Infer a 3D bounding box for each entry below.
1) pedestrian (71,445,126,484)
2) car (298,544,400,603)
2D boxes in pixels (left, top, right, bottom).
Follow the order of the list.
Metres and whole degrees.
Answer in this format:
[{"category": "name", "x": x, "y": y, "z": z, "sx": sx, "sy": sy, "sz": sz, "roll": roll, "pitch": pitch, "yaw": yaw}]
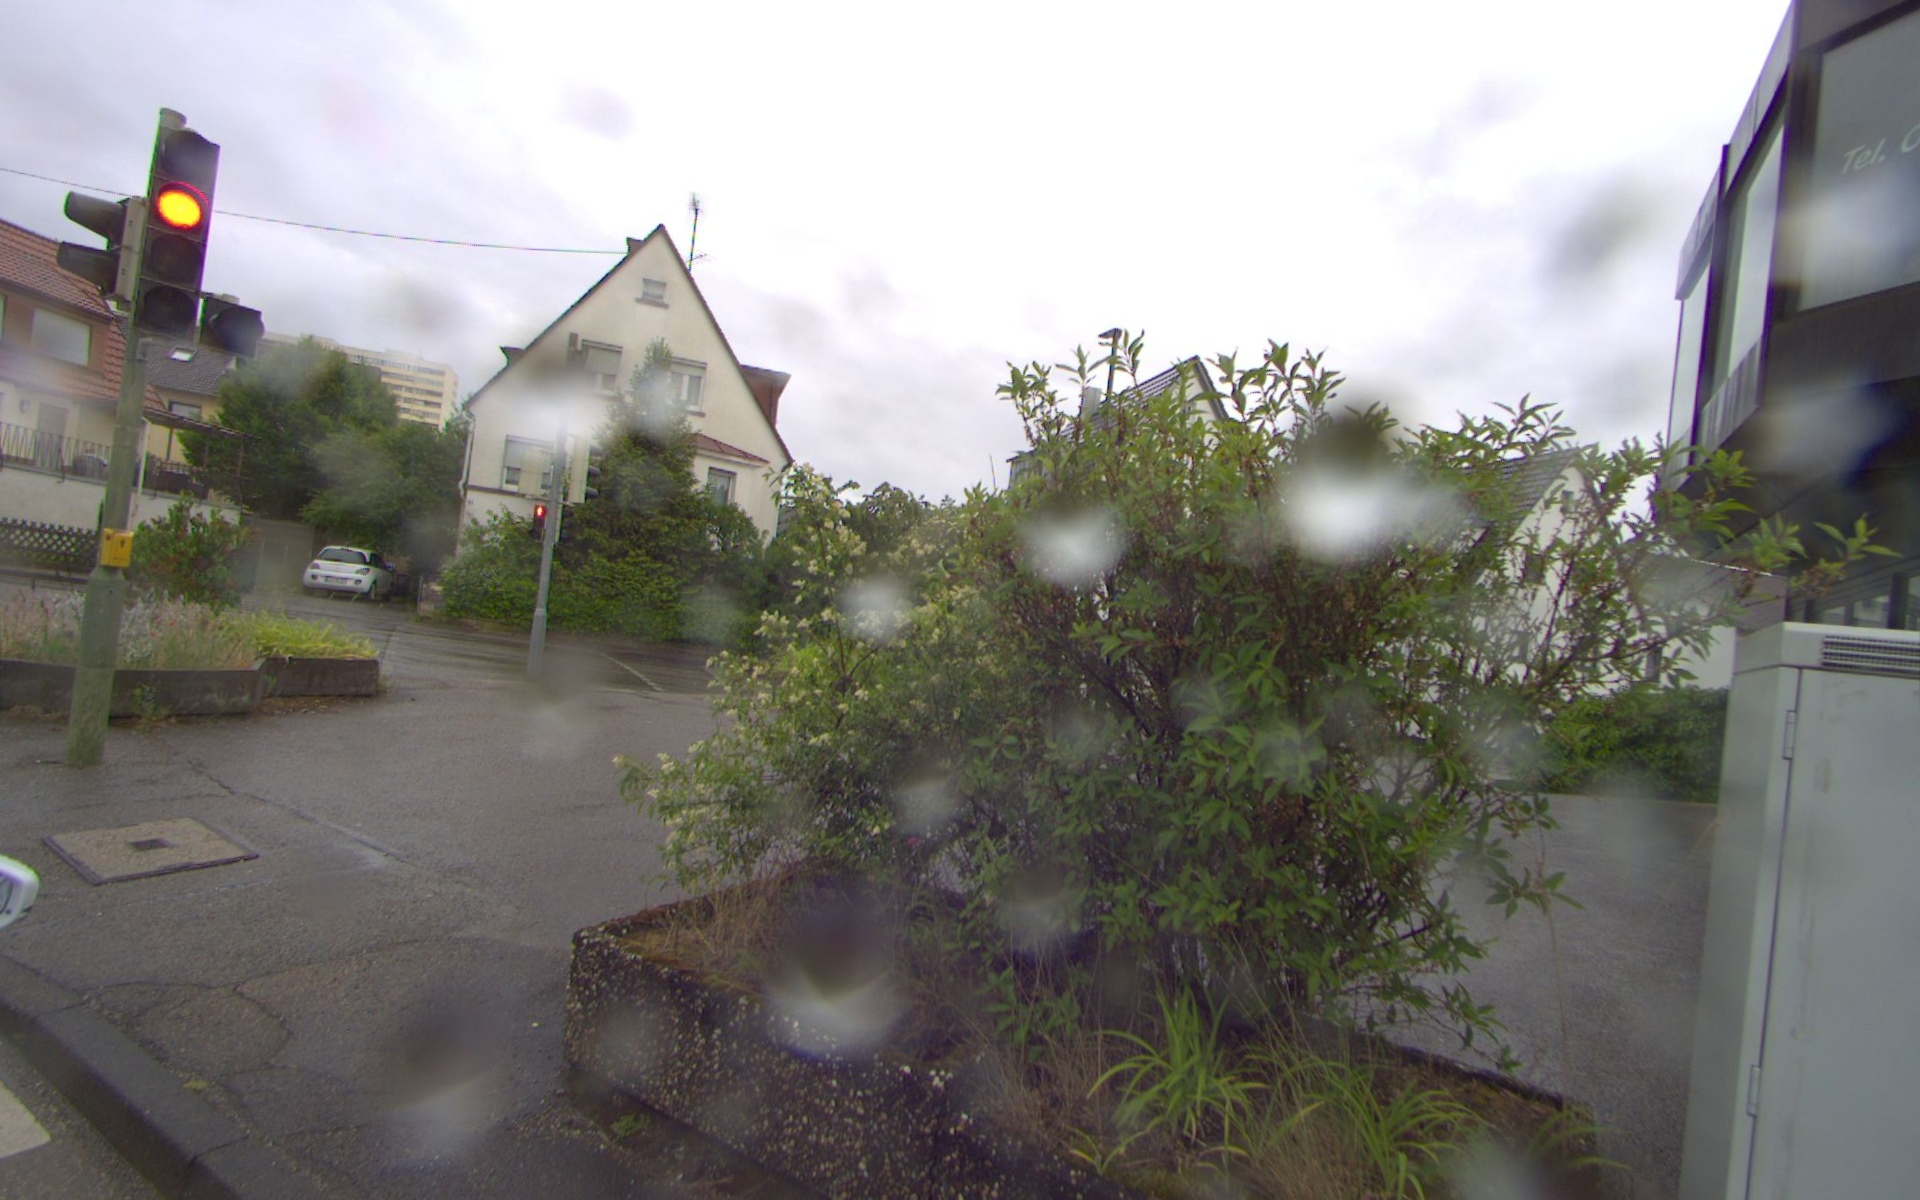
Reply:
[{"category": "pedestrian", "x": -24.278, "y": -3.803, "z": 28.368, "sx": 0.623, "sy": 0.893, "sz": 0.920, "roll": 5, "pitch": -2, "yaw": 13}, {"category": "car", "x": -17.763, "y": -0.746, "z": 29.418, "sx": 1.794, "sy": 1.378, "sz": 3.981, "roll": 8, "pitch": -2, "yaw": -22}]
